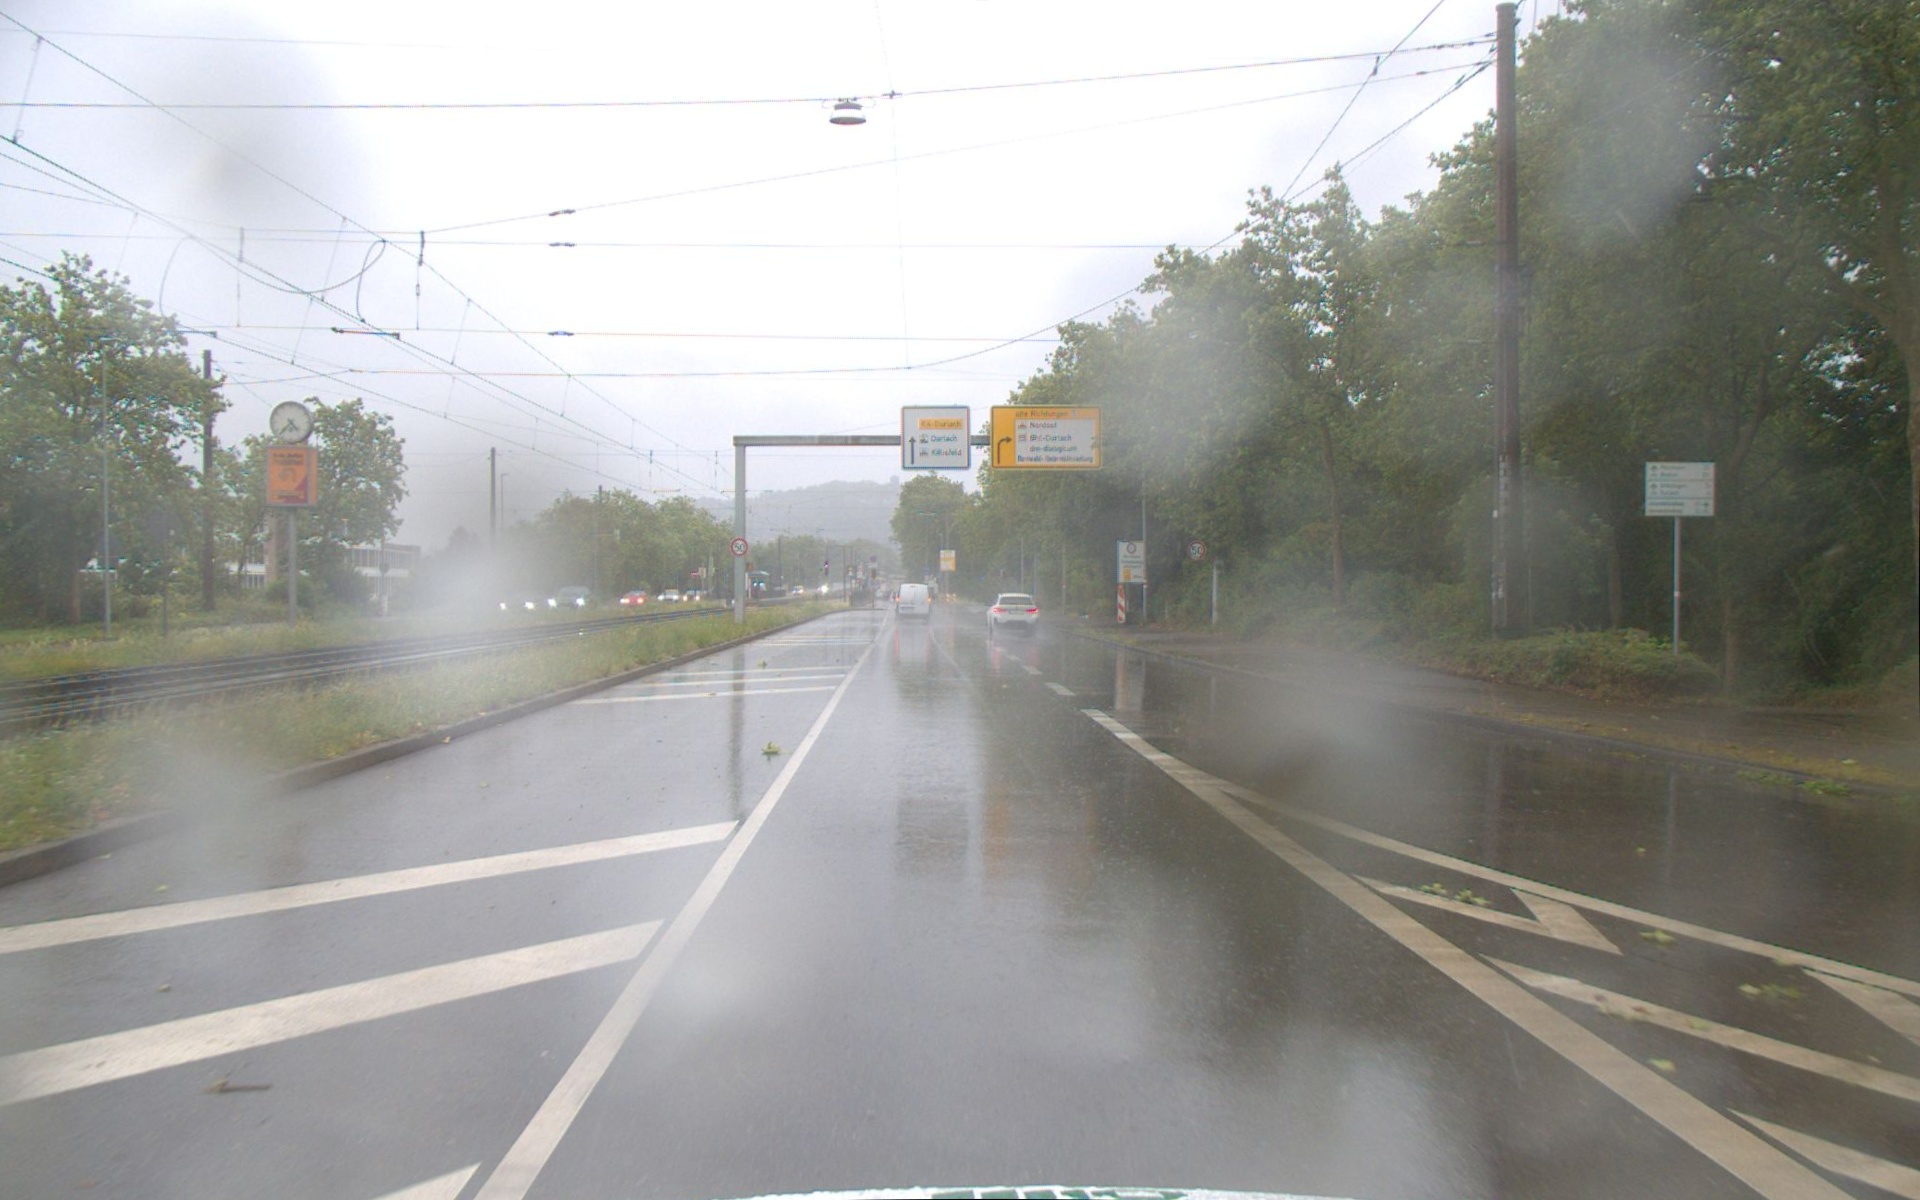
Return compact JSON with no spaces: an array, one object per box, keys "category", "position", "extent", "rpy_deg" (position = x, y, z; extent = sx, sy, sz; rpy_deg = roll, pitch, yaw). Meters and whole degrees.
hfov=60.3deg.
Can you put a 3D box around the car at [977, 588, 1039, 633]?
[{"category":"car","position":[1.717,0.366,60.469],"extent":[1.909,1.563,4.464],"rpy_deg":[1,0,-3]}]

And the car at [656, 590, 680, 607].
[{"category":"car","position":[-26.463,-0.116,150.072],"extent":[1.686,1.520,3.998],"rpy_deg":[1,0,-3]}]

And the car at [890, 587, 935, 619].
[{"category":"car","position":[-2.236,0.139,77.835],"extent":[2.035,1.445,3.999],"rpy_deg":[1,0,-2]}]

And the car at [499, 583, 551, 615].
[{"category":"car","position":[-23.635,-0.077,89.983],"extent":[1.905,1.716,4.775],"rpy_deg":[0,0,-5]}]

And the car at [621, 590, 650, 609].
[{"category":"car","position":[-25.553,-0.054,130.266],"extent":[1.686,1.520,3.998],"rpy_deg":[1,0,-3]}]

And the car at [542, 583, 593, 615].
[{"category":"car","position":[-20.808,-0.068,87.841],"extent":[1.905,1.644,4.983],"rpy_deg":[0,0,-5]}]
